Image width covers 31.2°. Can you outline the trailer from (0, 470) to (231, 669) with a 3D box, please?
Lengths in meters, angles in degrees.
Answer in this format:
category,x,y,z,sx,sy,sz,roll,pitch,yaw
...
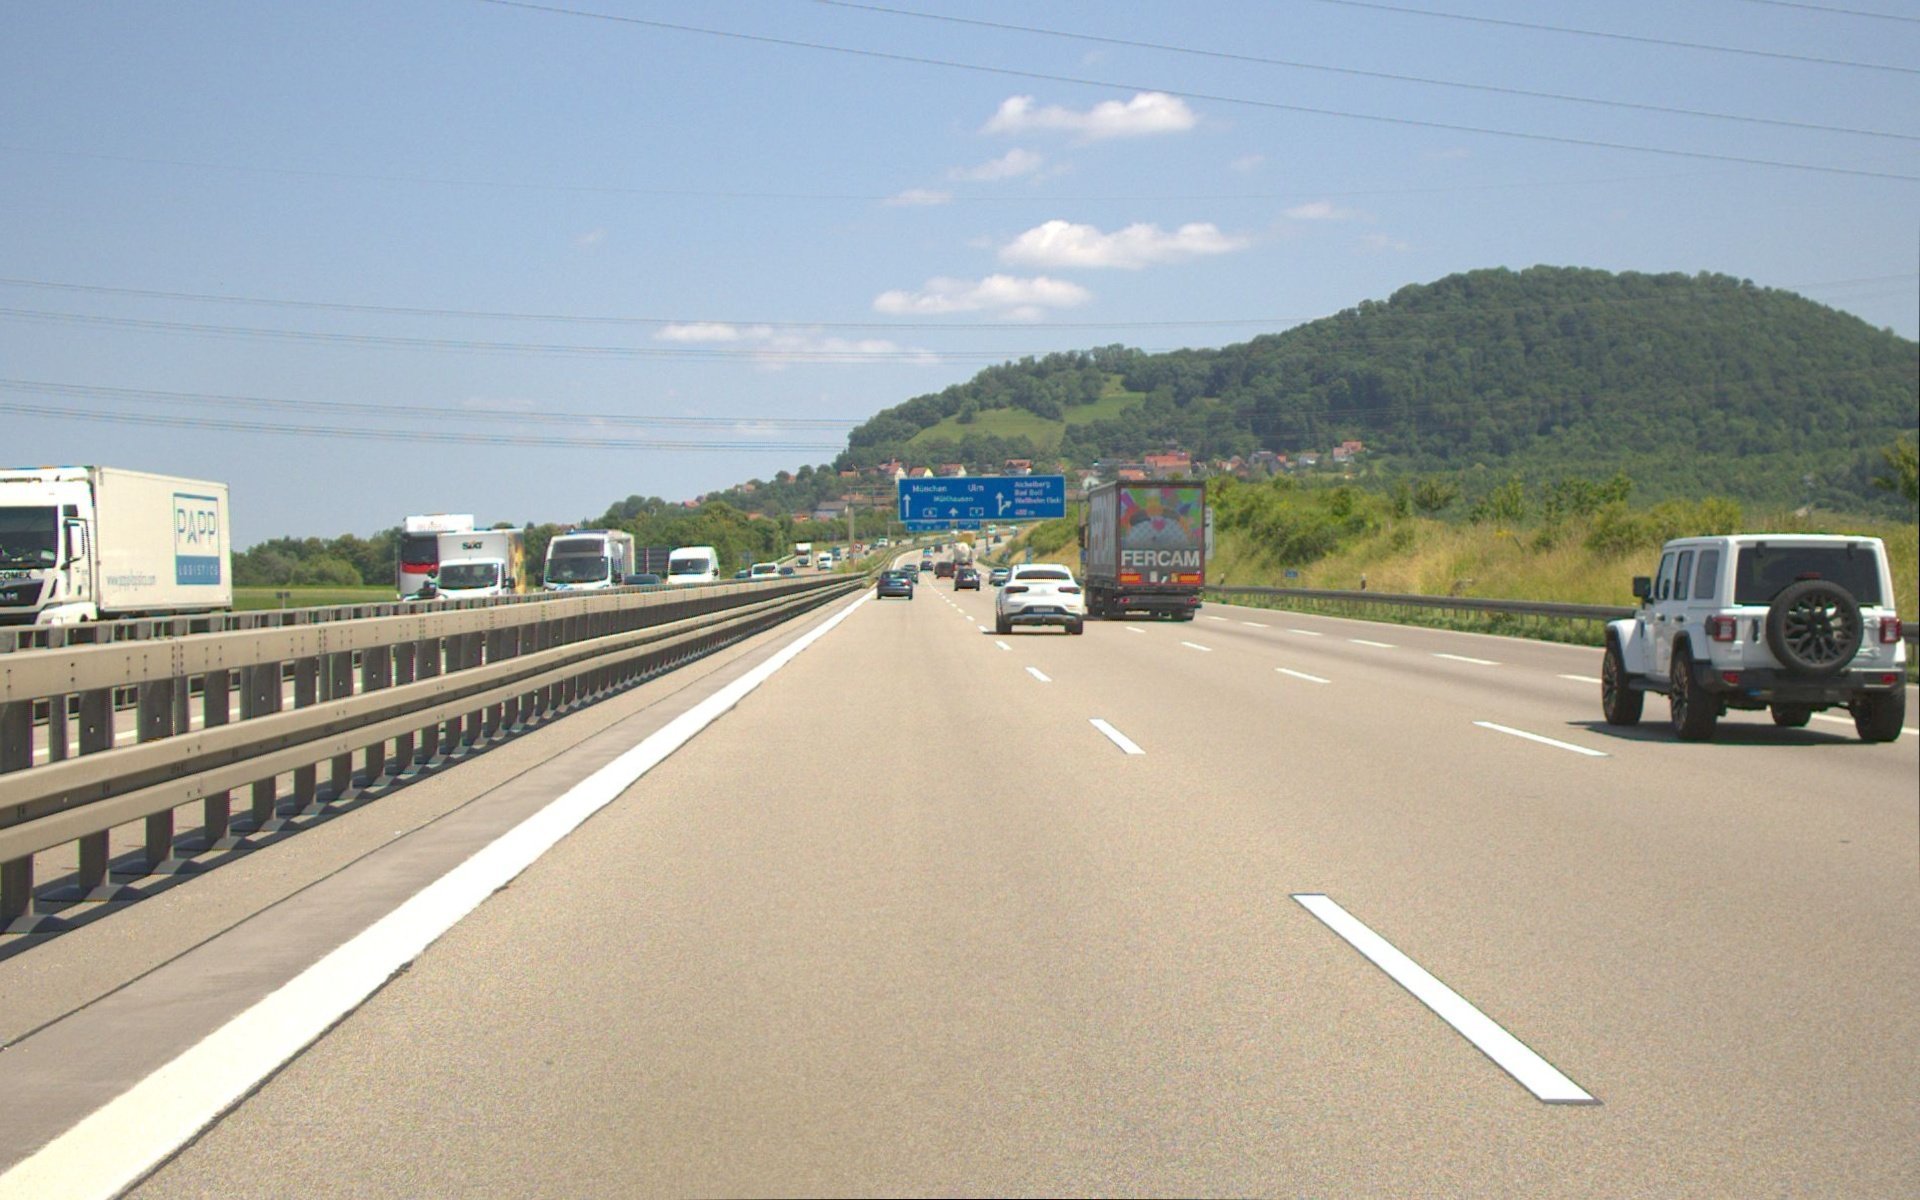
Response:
category,x,y,z,sx,sy,sz,roll,pitch,yaw
trailer,-18.515,-0.613,74.322,2.957,3.904,12.895,1,0,-1

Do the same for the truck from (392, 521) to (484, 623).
category,x,y,z,sx,sy,sz,roll,pitch,yaw
truck,-19.357,-1.020,127.741,2.717,3.678,6.057,1,0,-3

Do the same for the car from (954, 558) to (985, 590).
category,x,y,z,sx,sy,sz,roll,pitch,yaw
car,0.613,-1.681,224.883,1.993,2.007,4.000,1,0,0

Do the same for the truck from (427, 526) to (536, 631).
category,x,y,z,sx,sy,sz,roll,pitch,yaw
truck,-14.476,-0.629,104.416,2.249,2.999,7.428,-2,0,-1

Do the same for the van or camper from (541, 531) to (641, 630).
category,x,y,z,sx,sy,sz,roll,pitch,yaw
van or camper,-10.659,-0.581,99.743,2.157,2.725,7.296,-2,1,-1

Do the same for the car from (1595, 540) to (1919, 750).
category,x,y,z,sx,sy,sz,roll,pitch,yaw
car,7.343,0.363,31.769,2.034,1.798,4.251,-1,1,-2

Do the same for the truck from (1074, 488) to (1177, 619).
category,x,y,z,sx,sy,sz,roll,pitch,yaw
truck,5.228,-1.431,109.679,2.752,4.007,6.789,1,0,-1

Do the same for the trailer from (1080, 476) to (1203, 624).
category,x,y,z,sx,sy,sz,roll,pitch,yaw
trailer,5.357,-1.419,103.419,2.725,4.141,11.809,1,0,-1

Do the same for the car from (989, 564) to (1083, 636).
category,x,y,z,sx,sy,sz,roll,pitch,yaw
car,1.721,0.004,79.120,1.914,1.575,5.231,1,0,-1

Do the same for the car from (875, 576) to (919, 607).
category,x,y,z,sx,sy,sz,roll,pitch,yaw
car,-2.934,-0.407,161.069,1.993,1.384,4.000,1,0,0

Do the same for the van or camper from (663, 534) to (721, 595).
category,x,y,z,sx,sy,sz,roll,pitch,yaw
van or camper,-11.774,-1.534,151.609,2.123,2.566,6.122,1,0,-1

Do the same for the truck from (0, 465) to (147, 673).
category,x,y,z,sx,sy,sz,roll,pitch,yaw
truck,-18.388,-0.598,68.404,2.939,3.917,6.477,1,0,-1
